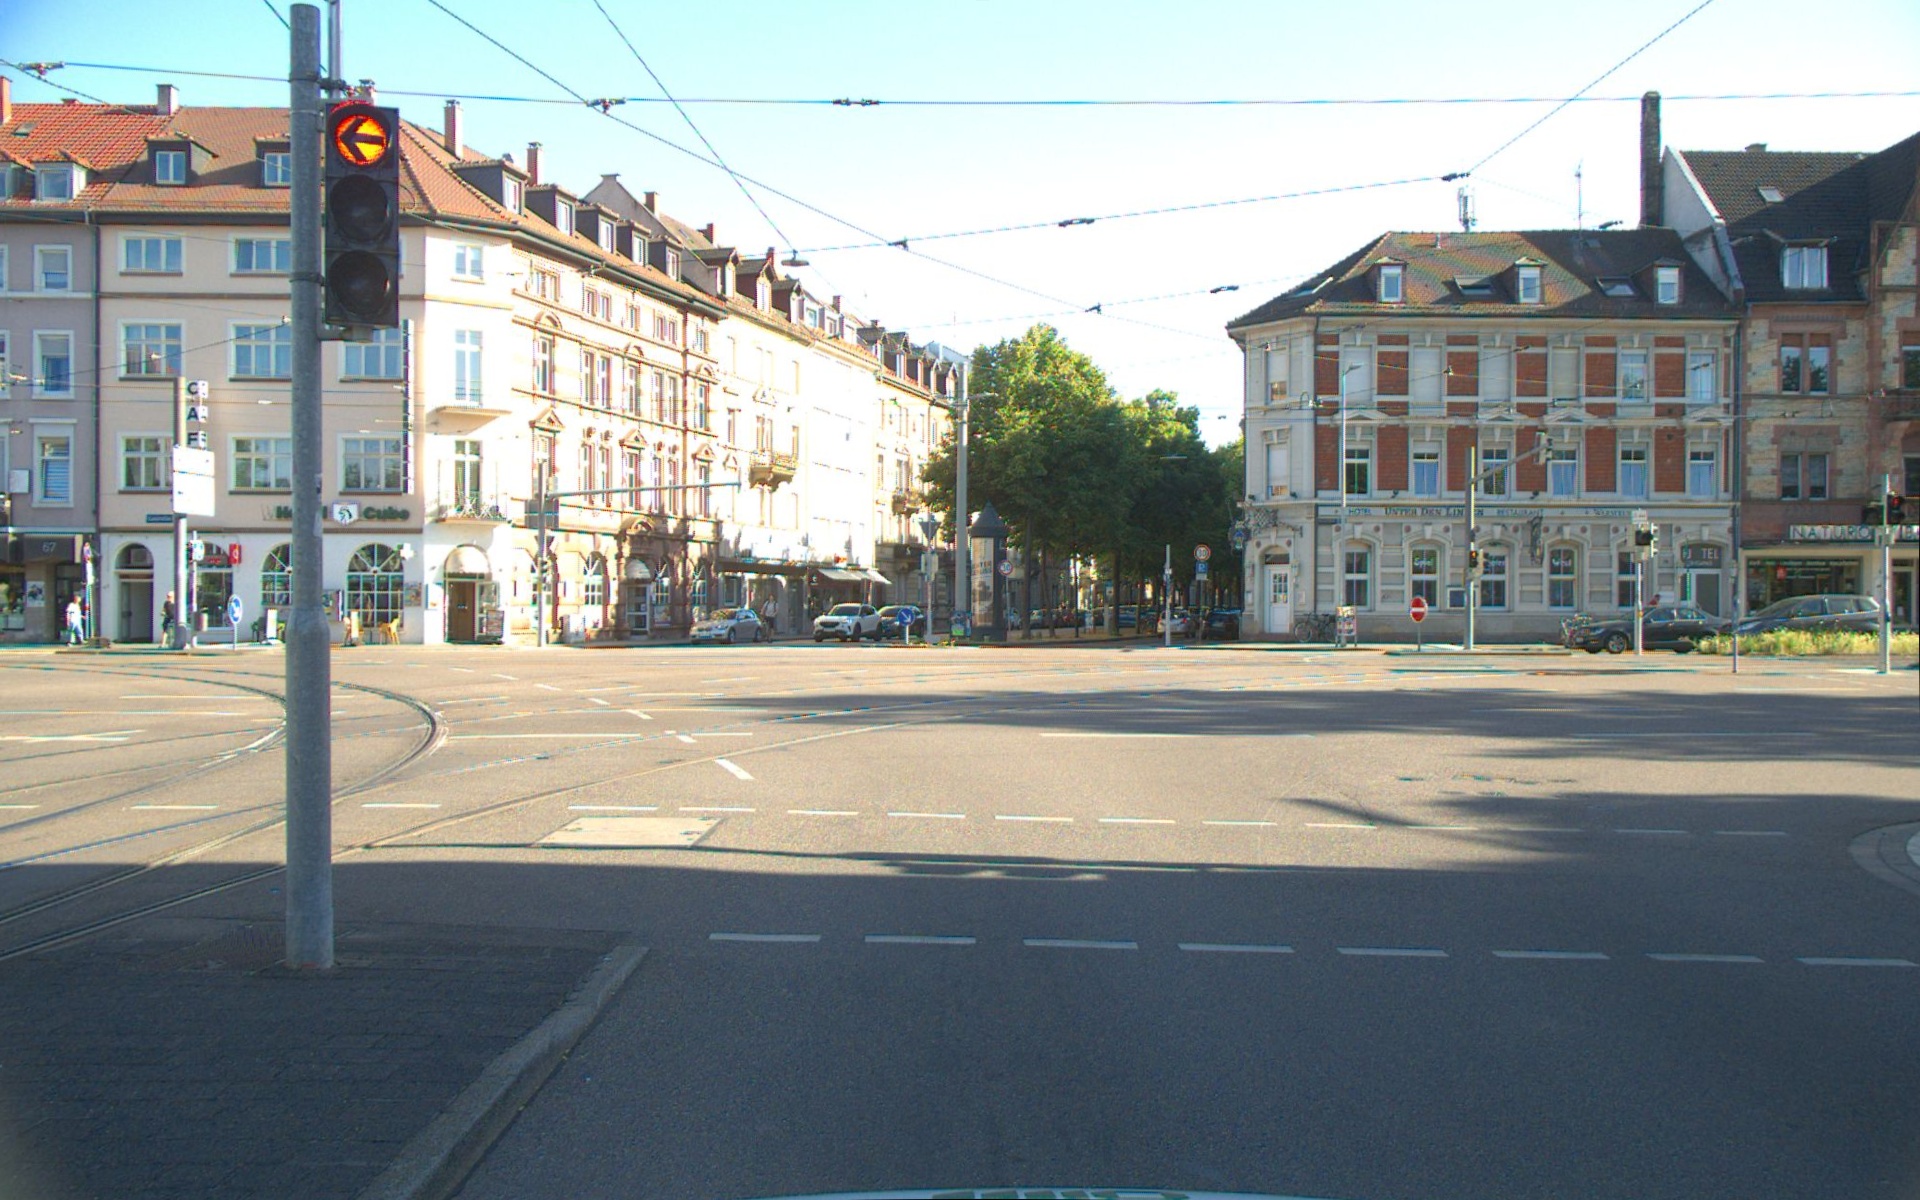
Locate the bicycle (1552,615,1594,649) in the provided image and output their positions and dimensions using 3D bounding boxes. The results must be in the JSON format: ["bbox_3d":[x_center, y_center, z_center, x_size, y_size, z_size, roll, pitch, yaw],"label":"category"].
[{"bbox_3d":[19.824,1.025,53.515,0.593,1.069,1.641,0,0,-6],"label":"bicycle"}]

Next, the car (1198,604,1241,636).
[{"bbox_3d":[12.973,1.004,82.469,1.616,1.551,3.755,0,-1,17],"label":"car"}]

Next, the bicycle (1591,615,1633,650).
[{"bbox_3d":[21.116,1.047,53.597,0.593,1.069,1.641,0,0,-6],"label":"bicycle"}]

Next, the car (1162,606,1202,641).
[{"bbox_3d":[11.845,1.242,88.085,1.638,1.787,3.761,0,0,15],"label":"car"}]

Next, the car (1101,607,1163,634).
[{"bbox_3d":[12.003,1.406,115.387,4.024,1.675,1.748,3,0,15],"label":"car"}]

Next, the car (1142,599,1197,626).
[{"bbox_3d":[16.956,1.018,133.668,4.026,1.952,1.746,3,0,21],"label":"car"}]

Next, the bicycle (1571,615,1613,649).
[{"bbox_3d":[20.465,1.036,53.571,0.593,1.069,1.641,0,0,-6],"label":"bicycle"}]

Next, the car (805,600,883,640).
[{"bbox_3d":[-4.652,0.790,67.083,2.052,1.525,4.003,0,0,13],"label":"car"}]

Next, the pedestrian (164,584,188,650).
[{"bbox_3d":[-24.667,0.538,52.037,0.498,2.049,0.505,0,0,2],"label":"pedestrian"}]

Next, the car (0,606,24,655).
[{"bbox_3d":[-32.064,0.997,52.158,3.910,1.489,1.998,-1,1,-6],"label":"car"}]

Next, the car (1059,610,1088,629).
[{"bbox_3d":[9.419,1.579,136.506,1.704,1.422,4.127,3,0,13],"label":"car"}]

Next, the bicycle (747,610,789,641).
[{"bbox_3d":[-7.575,0.994,65.498,0.734,1.155,2.812,0,0,14],"label":"bicycle"}]

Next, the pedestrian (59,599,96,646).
[{"bbox_3d":[-29.549,0.749,55.359,0.774,1.553,0.859,0,0,0],"label":"pedestrian"}]

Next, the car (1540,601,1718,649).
[{"bbox_3d":[19.561,0.724,48.503,4.420,1.364,1.999,0,0,-3],"label":"car"}]

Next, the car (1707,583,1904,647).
[{"bbox_3d":[23.166,0.401,45.420,4.418,1.701,1.999,0,0,-2],"label":"car"}]

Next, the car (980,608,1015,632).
[{"bbox_3d":[2.525,1.313,110.020,1.704,1.422,4.127,3,0,9],"label":"car"}]

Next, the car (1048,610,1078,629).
[{"bbox_3d":[8.242,1.542,131.710,1.704,1.422,4.127,3,0,13],"label":"car"}]

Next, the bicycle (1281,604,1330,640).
[{"bbox_3d":[11.975,0.764,57.306,1.603,1.243,0.607,0,0,16],"label":"bicycle"}]

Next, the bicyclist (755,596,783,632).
[{"bbox_3d":[-7.560,0.543,65.468,0.776,1.399,1.109,0,0,14],"label":"bicyclist"}]

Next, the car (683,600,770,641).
[{"bbox_3d":[-9.452,0.812,67.223,2.052,1.572,4.367,0,0,13],"label":"car"}]

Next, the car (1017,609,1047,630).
[{"bbox_3d":[5.333,1.417,122.843,1.704,1.422,4.127,3,0,9],"label":"car"}]

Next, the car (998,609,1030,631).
[{"bbox_3d":[3.802,1.360,115.843,1.704,1.422,4.127,3,0,9],"label":"car"}]

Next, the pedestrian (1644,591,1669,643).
[{"bbox_3d":[23.982,0.568,56.932,0.694,1.782,0.421,0,0,0],"label":"pedestrian"}]

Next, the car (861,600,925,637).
[{"bbox_3d":[-2.960,0.798,73.476,1.951,1.540,4.004,0,0,11],"label":"car"}]
